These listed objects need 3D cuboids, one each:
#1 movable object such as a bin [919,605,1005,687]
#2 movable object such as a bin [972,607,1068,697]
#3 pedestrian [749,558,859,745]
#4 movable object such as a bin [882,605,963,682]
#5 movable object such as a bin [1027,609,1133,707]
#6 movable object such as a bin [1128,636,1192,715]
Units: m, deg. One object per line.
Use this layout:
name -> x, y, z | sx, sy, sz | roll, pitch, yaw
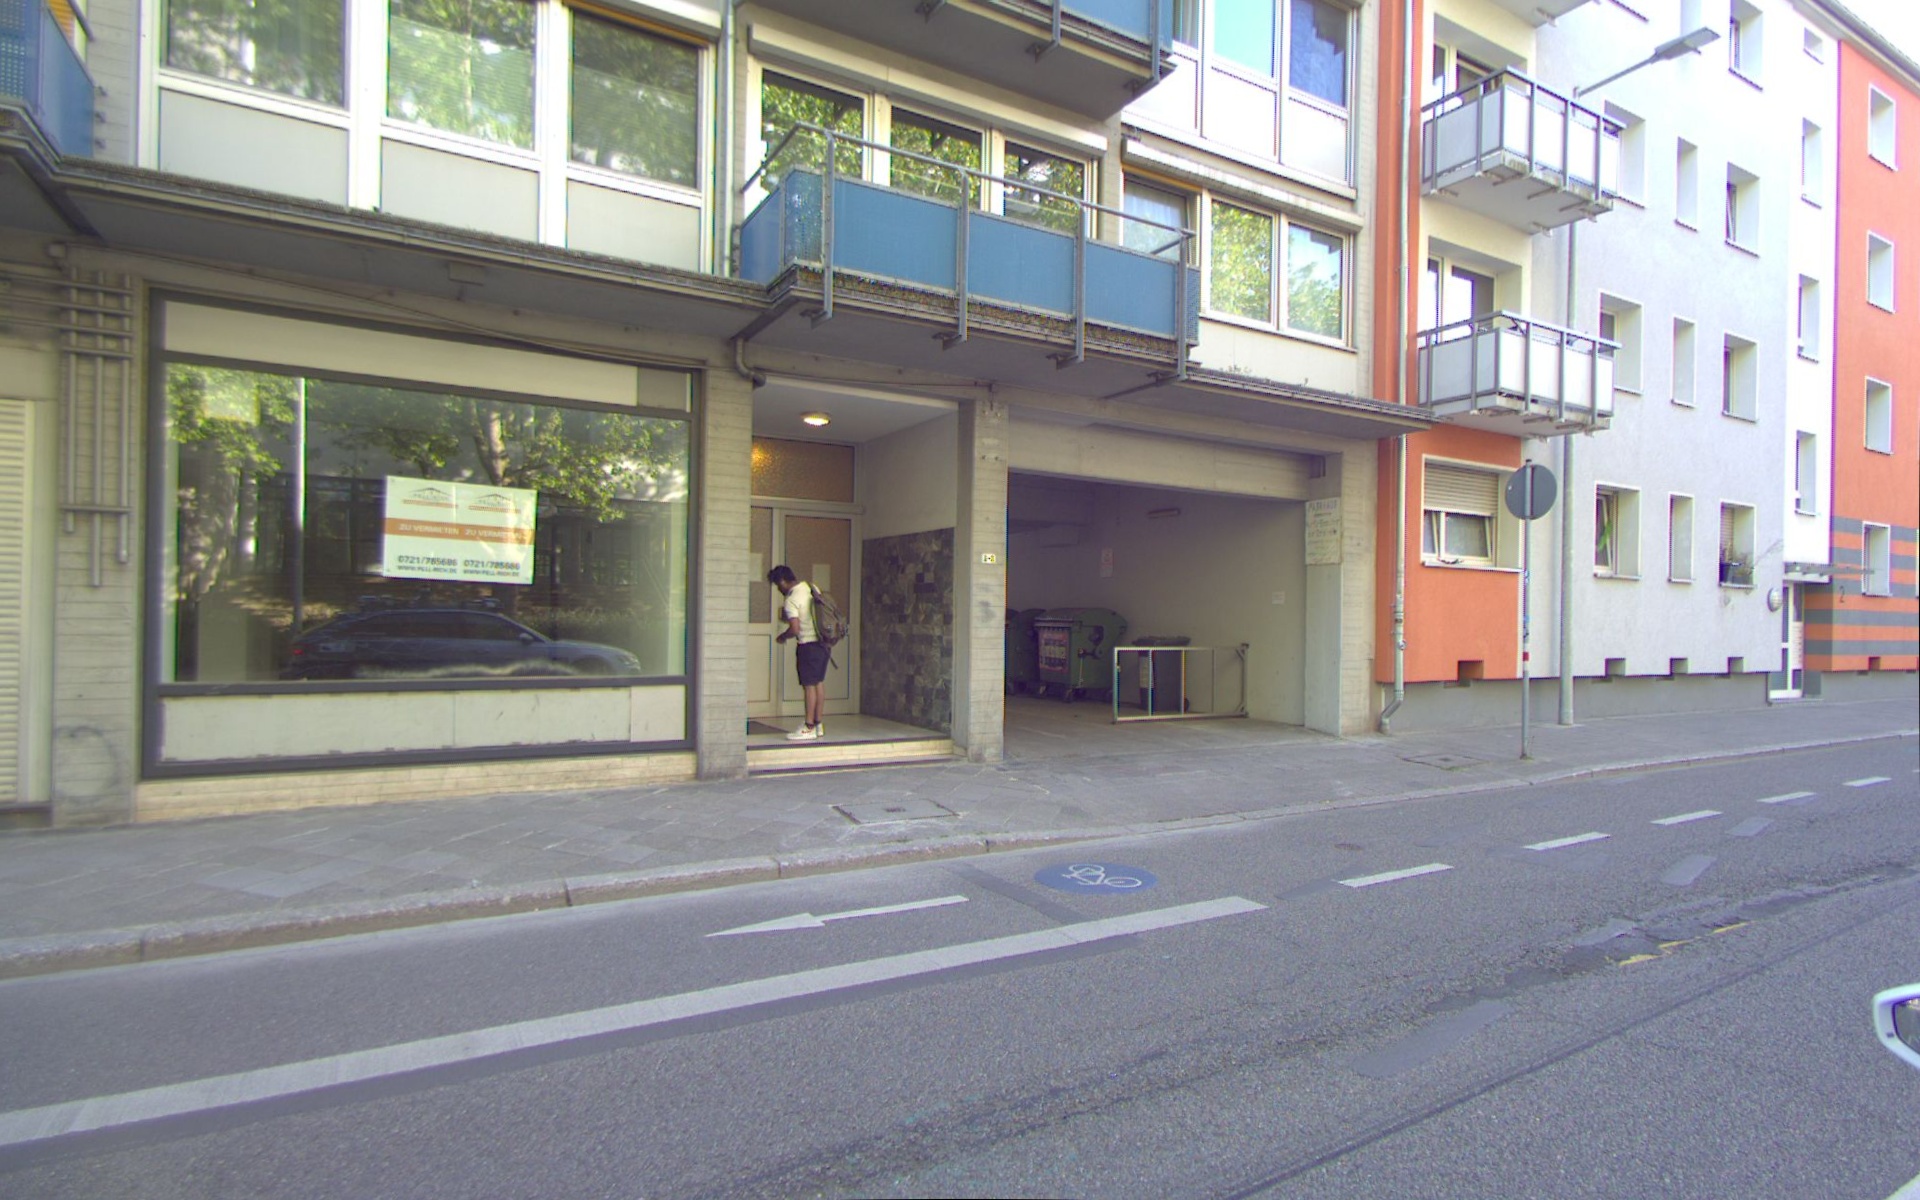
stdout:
movable object such as a bin -> 0.027, 0.839, 18.699 | 1.120, 1.444, 1.268 | 2, 0, -28
movable object such as a bin -> 1.006, 0.871, 17.155 | 1.120, 1.444, 1.268 | 2, 0, -28
pedestrian -> -1.426, 0.461, 9.341 | 0.820, 1.639, 0.794 | 2, 0, 3
movable object such as a bin -> -0.743, 0.843, 19.790 | 1.120, 1.444, 1.268 | 2, 0, -28
movable object such as a bin -> 1.874, 0.881, 15.814 | 1.120, 1.444, 1.268 | 2, 0, -28
movable object such as a bin -> 2.886, 1.080, 14.489 | 0.713, 1.094, 0.533 | 2, 0, -29
